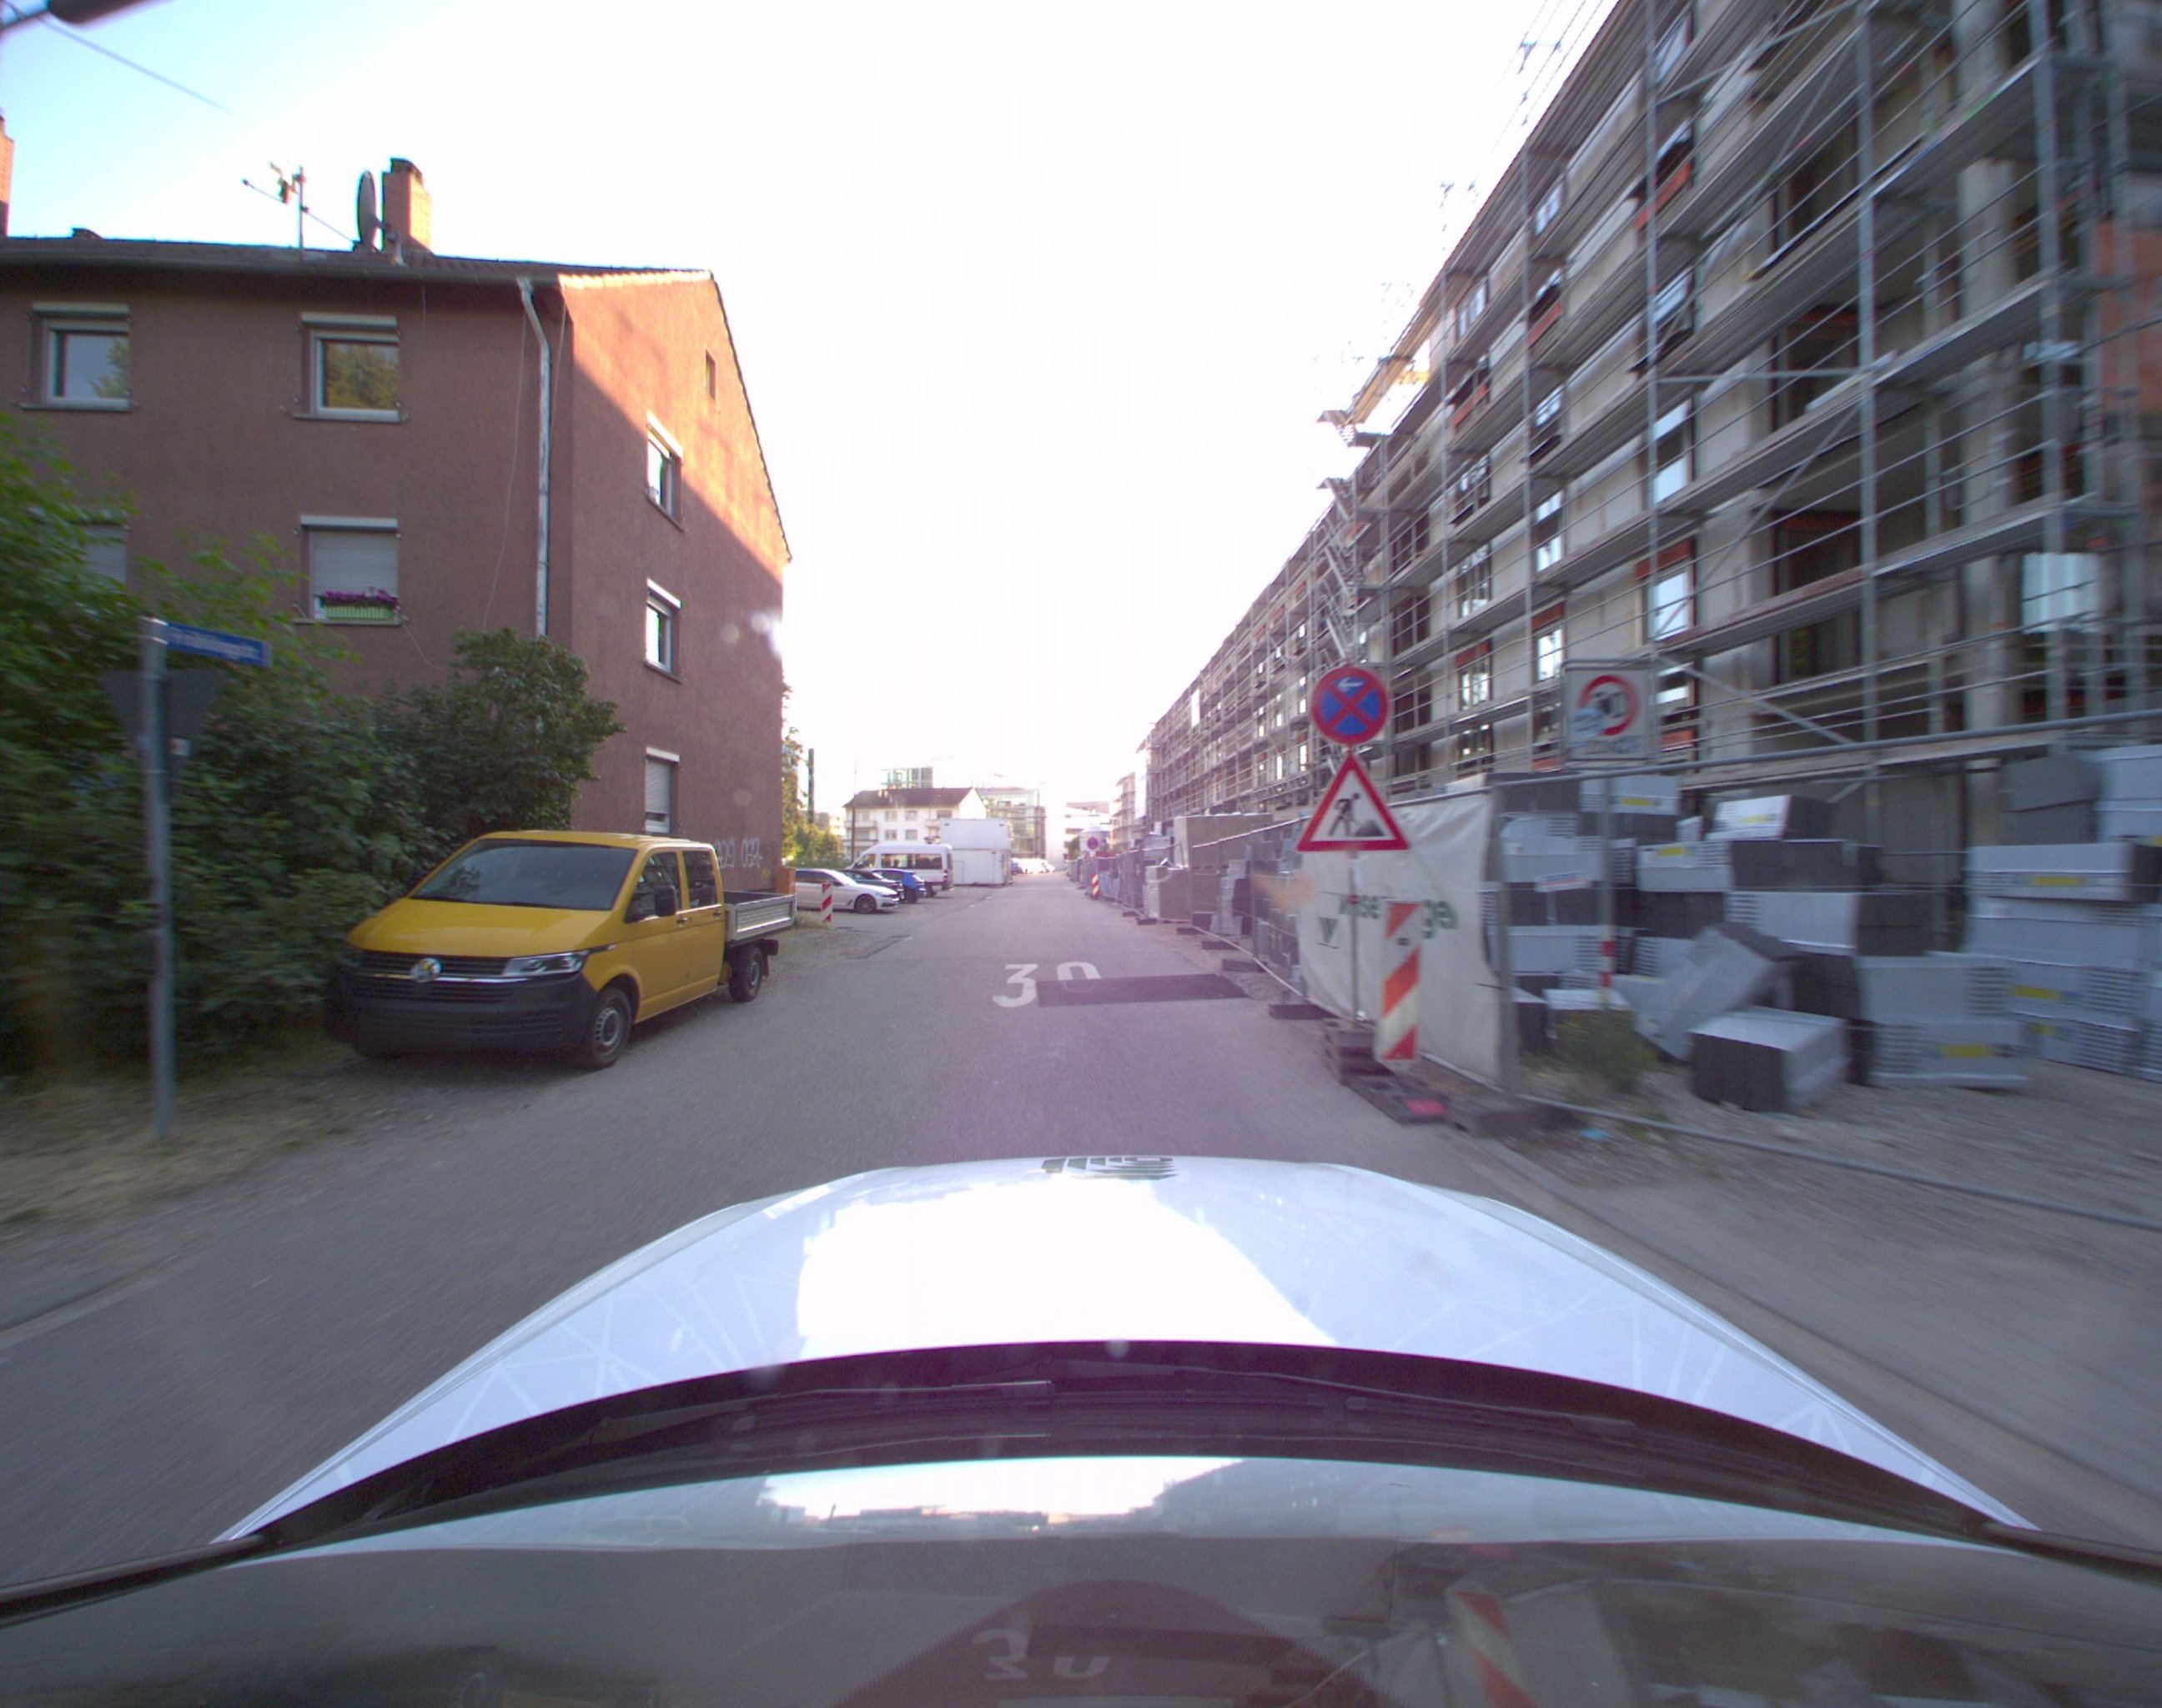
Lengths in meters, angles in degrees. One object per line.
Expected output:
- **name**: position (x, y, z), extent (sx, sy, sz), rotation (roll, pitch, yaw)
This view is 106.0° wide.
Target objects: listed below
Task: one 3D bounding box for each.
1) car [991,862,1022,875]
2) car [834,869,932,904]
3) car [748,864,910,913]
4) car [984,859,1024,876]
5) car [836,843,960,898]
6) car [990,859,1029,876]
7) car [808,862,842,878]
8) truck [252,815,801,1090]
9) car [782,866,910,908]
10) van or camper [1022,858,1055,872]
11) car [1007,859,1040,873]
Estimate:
- **car**: position (-10.839, 2.071, 118.221), extent (4.501, 1.868, 1.994), rotation (-1, -1, -8)
- **car**: position (-8.389, 1.359, 34.768), extent (3.830, 1.429, 1.724), rotation (1, -1, -5)
- **car**: position (-8.758, 1.186, 28.644), extent (4.978, 1.544, 2.115), rotation (1, -1, -1)
- **car**: position (-12.448, 2.167, 132.208), extent (6.311, 2.651, 1.998), rotation (-1, -1, -2)
- **car**: position (-9.040, 0.829, 40.673), extent (5.672, 2.626, 2.221), rotation (0, -1, -1)
- **car**: position (-11.970, 2.191, 136.044), extent (6.311, 2.741, 1.998), rotation (-1, -1, -2)
- **car**: position (-33.896, 2.081, 108.089), extent (2.295, 2.014, 5.069), rotation (0, -1, 8)
- **truck**: position (-4.858, 0.756, 8.581), extent (2.029, 1.913, 5.655), rotation (1, -1, -2)
- **car**: position (-8.911, 1.232, 31.137), extent (4.410, 1.544, 1.724), rotation (1, -1, -6)
- **van or camper**: position (-8.655, 2.227, 165.079), extent (6.293, 2.979, 2.299), rotation (0, -1, 10)
- **car**: position (-10.699, 2.311, 151.558), extent (5.889, 2.490, 2.005), rotation (-1, -1, 8)
